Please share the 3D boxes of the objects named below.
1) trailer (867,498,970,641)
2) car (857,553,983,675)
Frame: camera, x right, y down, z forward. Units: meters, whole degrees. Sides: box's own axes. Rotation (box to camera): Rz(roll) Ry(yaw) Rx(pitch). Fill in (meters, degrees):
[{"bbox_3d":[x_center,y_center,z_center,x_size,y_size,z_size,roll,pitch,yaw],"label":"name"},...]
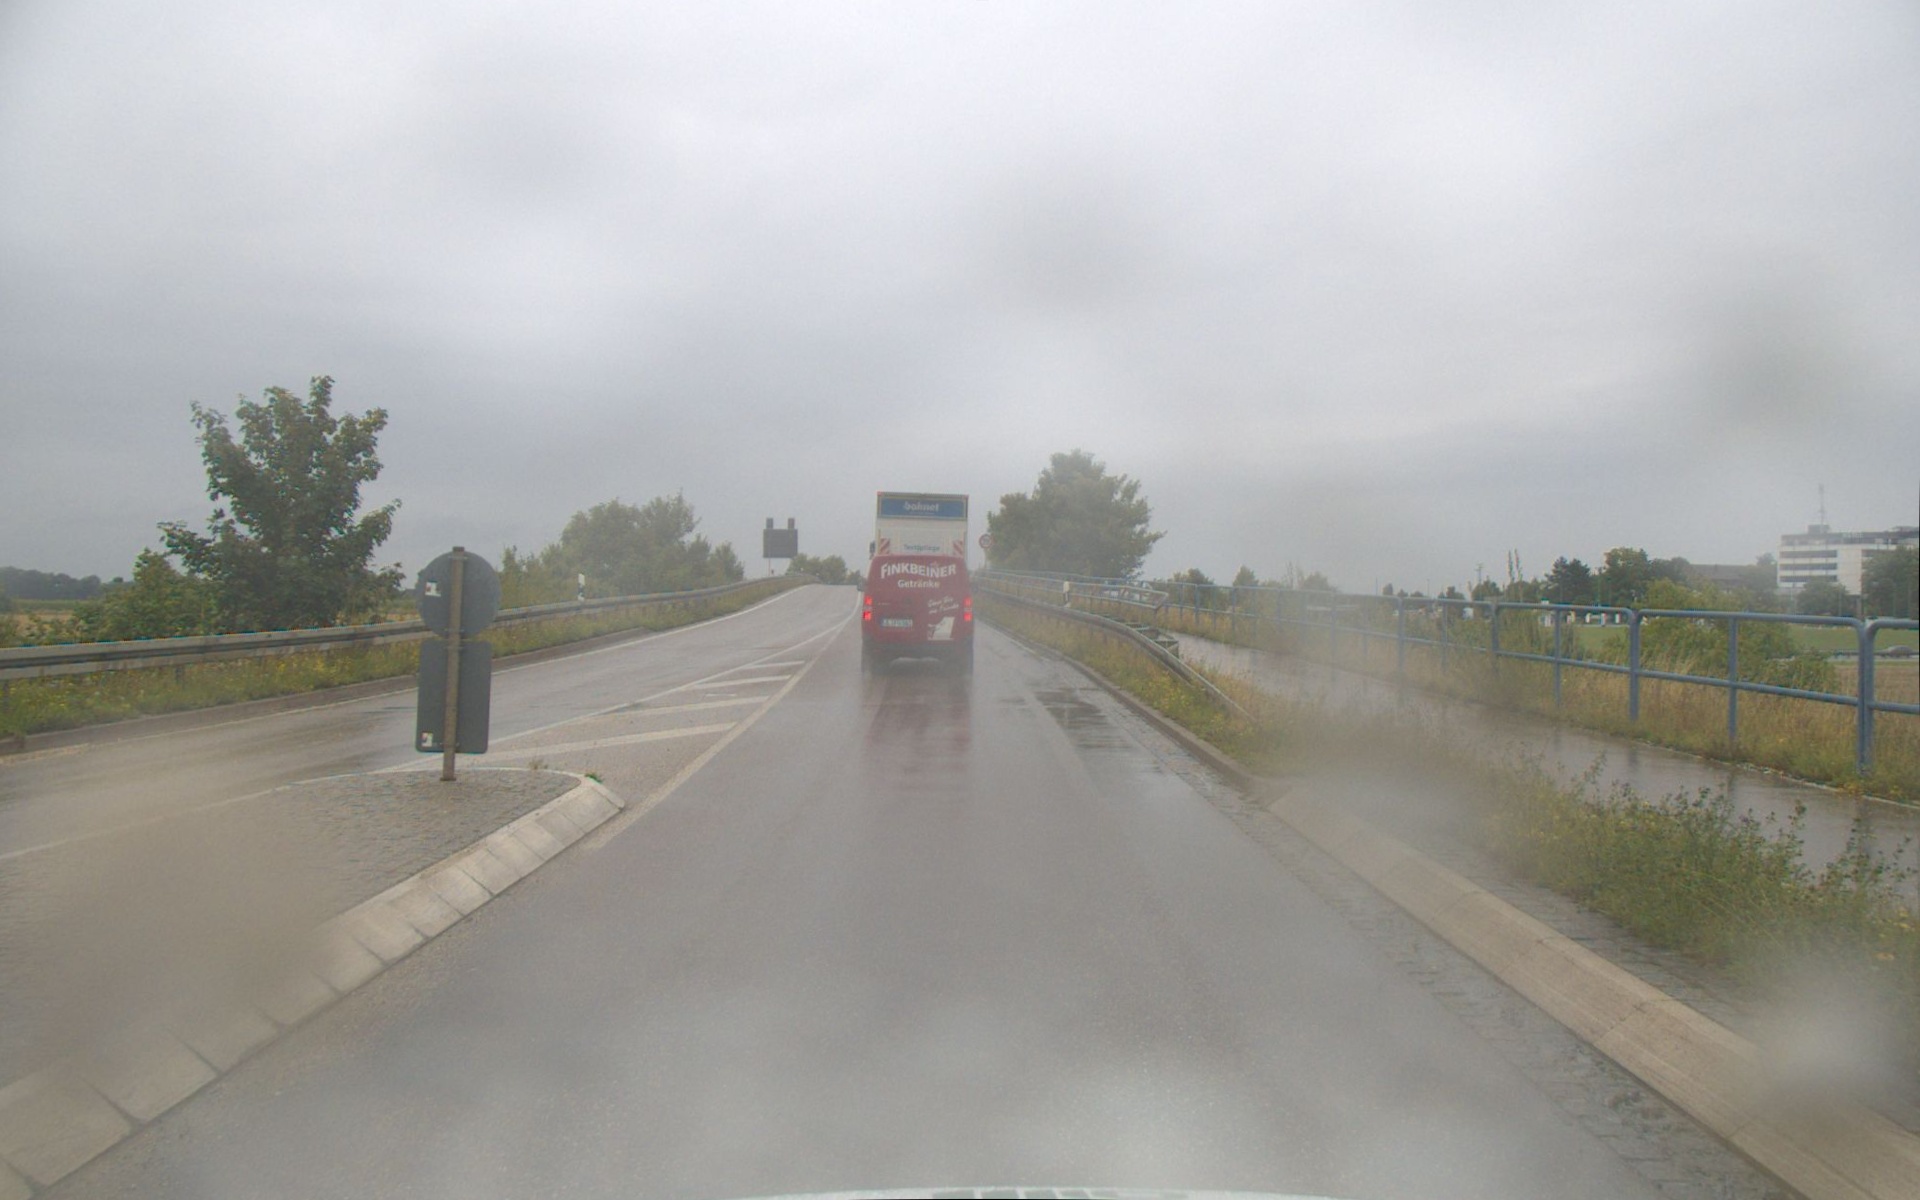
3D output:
[{"bbox_3d":[-1.263,-0.857,49.686,2.775,3.885,9.712,0,0,-2],"label":"trailer"},{"bbox_3d":[-0.593,0.185,28.379,1.952,1.903,4.979,0,1,1],"label":"car"}]
